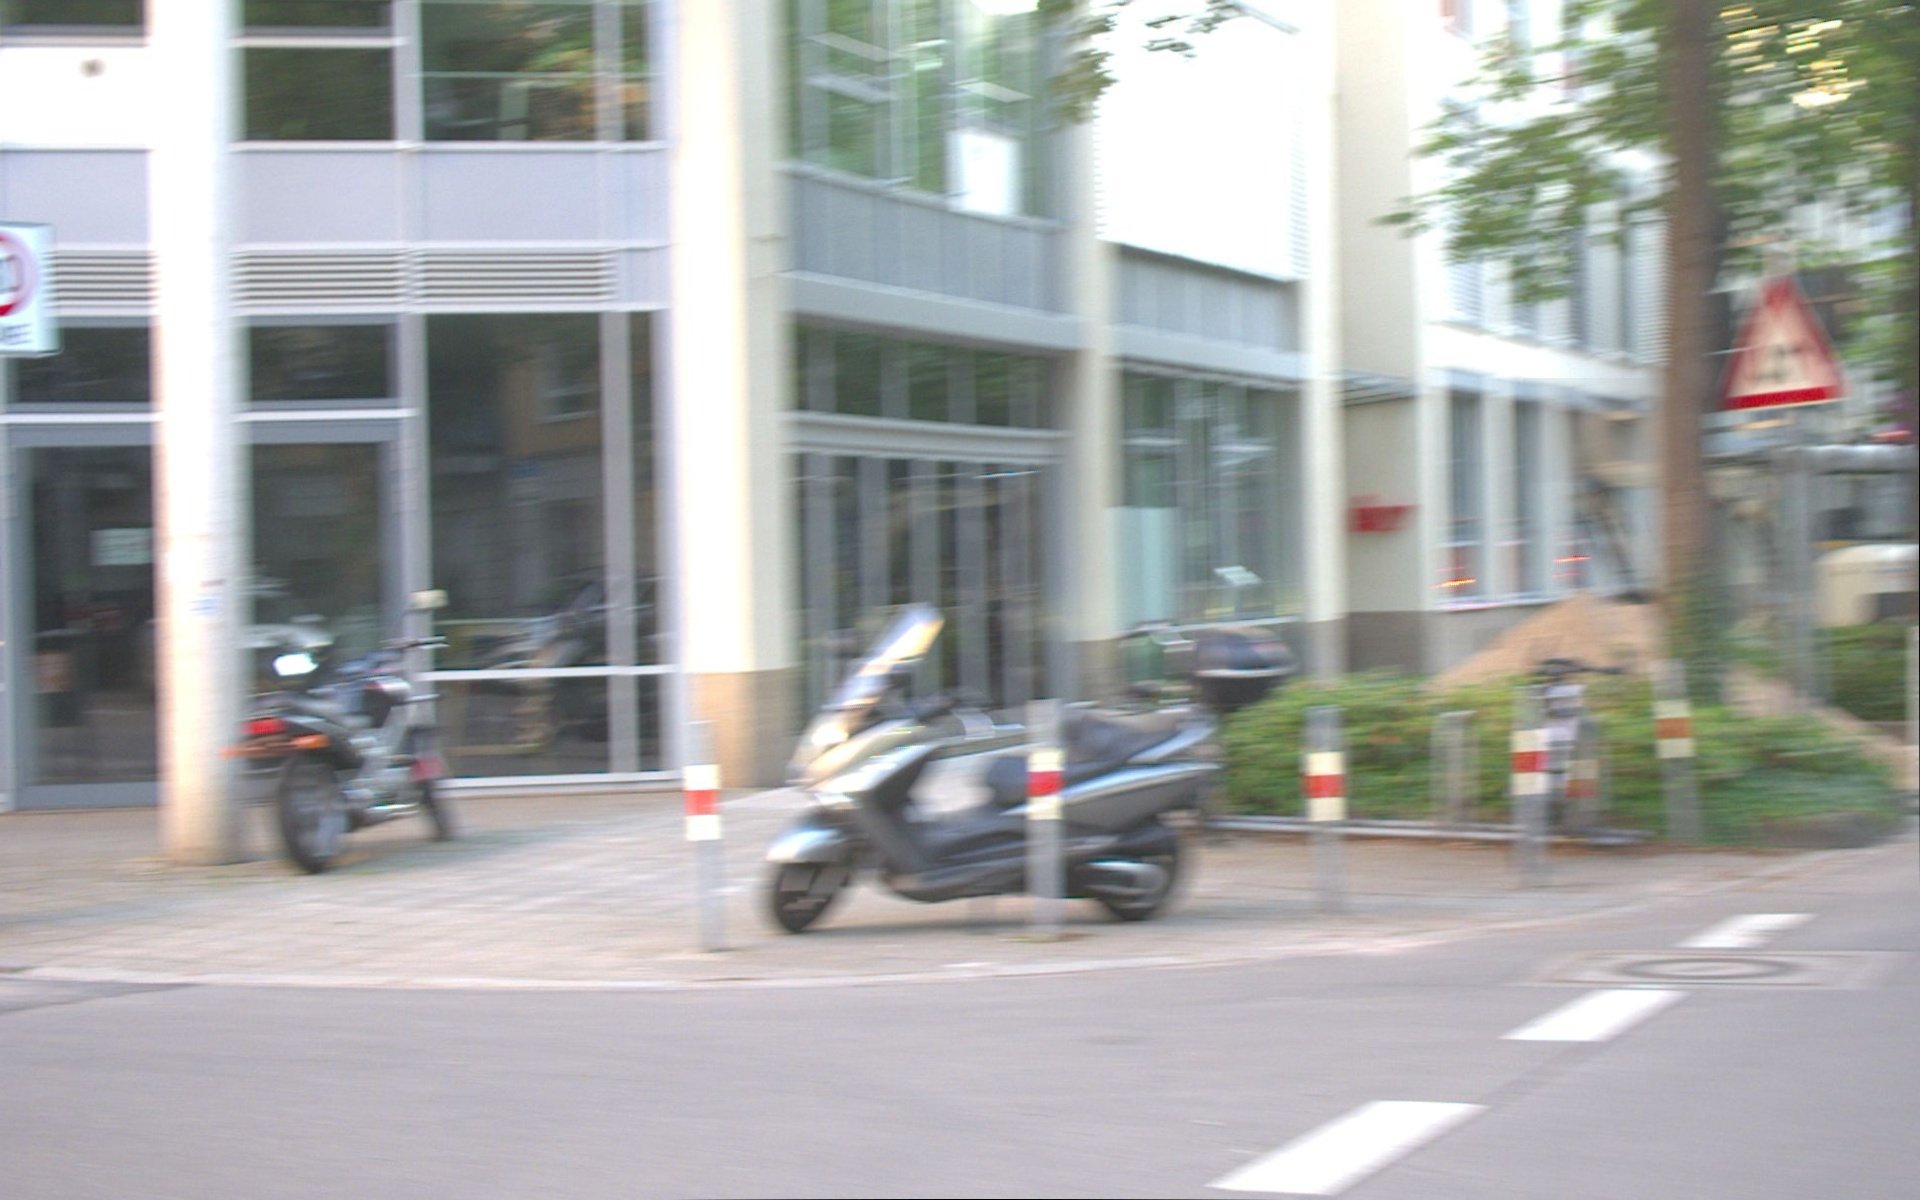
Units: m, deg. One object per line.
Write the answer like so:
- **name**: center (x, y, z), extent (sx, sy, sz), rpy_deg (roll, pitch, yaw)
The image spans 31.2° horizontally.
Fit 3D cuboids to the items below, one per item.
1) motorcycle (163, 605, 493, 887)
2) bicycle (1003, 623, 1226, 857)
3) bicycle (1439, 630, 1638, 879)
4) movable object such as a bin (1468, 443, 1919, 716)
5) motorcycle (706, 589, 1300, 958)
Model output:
- **motorcycle**: center (-3.184, 0.706, 17.561), extent (0.614, 1.269, 2.124), rpy_deg (-1, 2, 21)
- **bicycle**: center (0.840, 0.714, 18.217), extent (0.601, 1.114, 1.798), rpy_deg (-1, 1, 22)
- **bicycle**: center (2.929, 0.747, 17.279), extent (0.601, 1.114, 1.798), rpy_deg (-1, 1, 22)
- **movable object such as a bin**: center (6.715, -0.179, 31.260), extent (3.669, 2.325, 2.581), rpy_deg (-1, 1, 20)
- **motorcycle**: center (0.182, 0.698, 14.618), extent (2.371, 1.436, 0.802), rpy_deg (-1, 1, -18)
